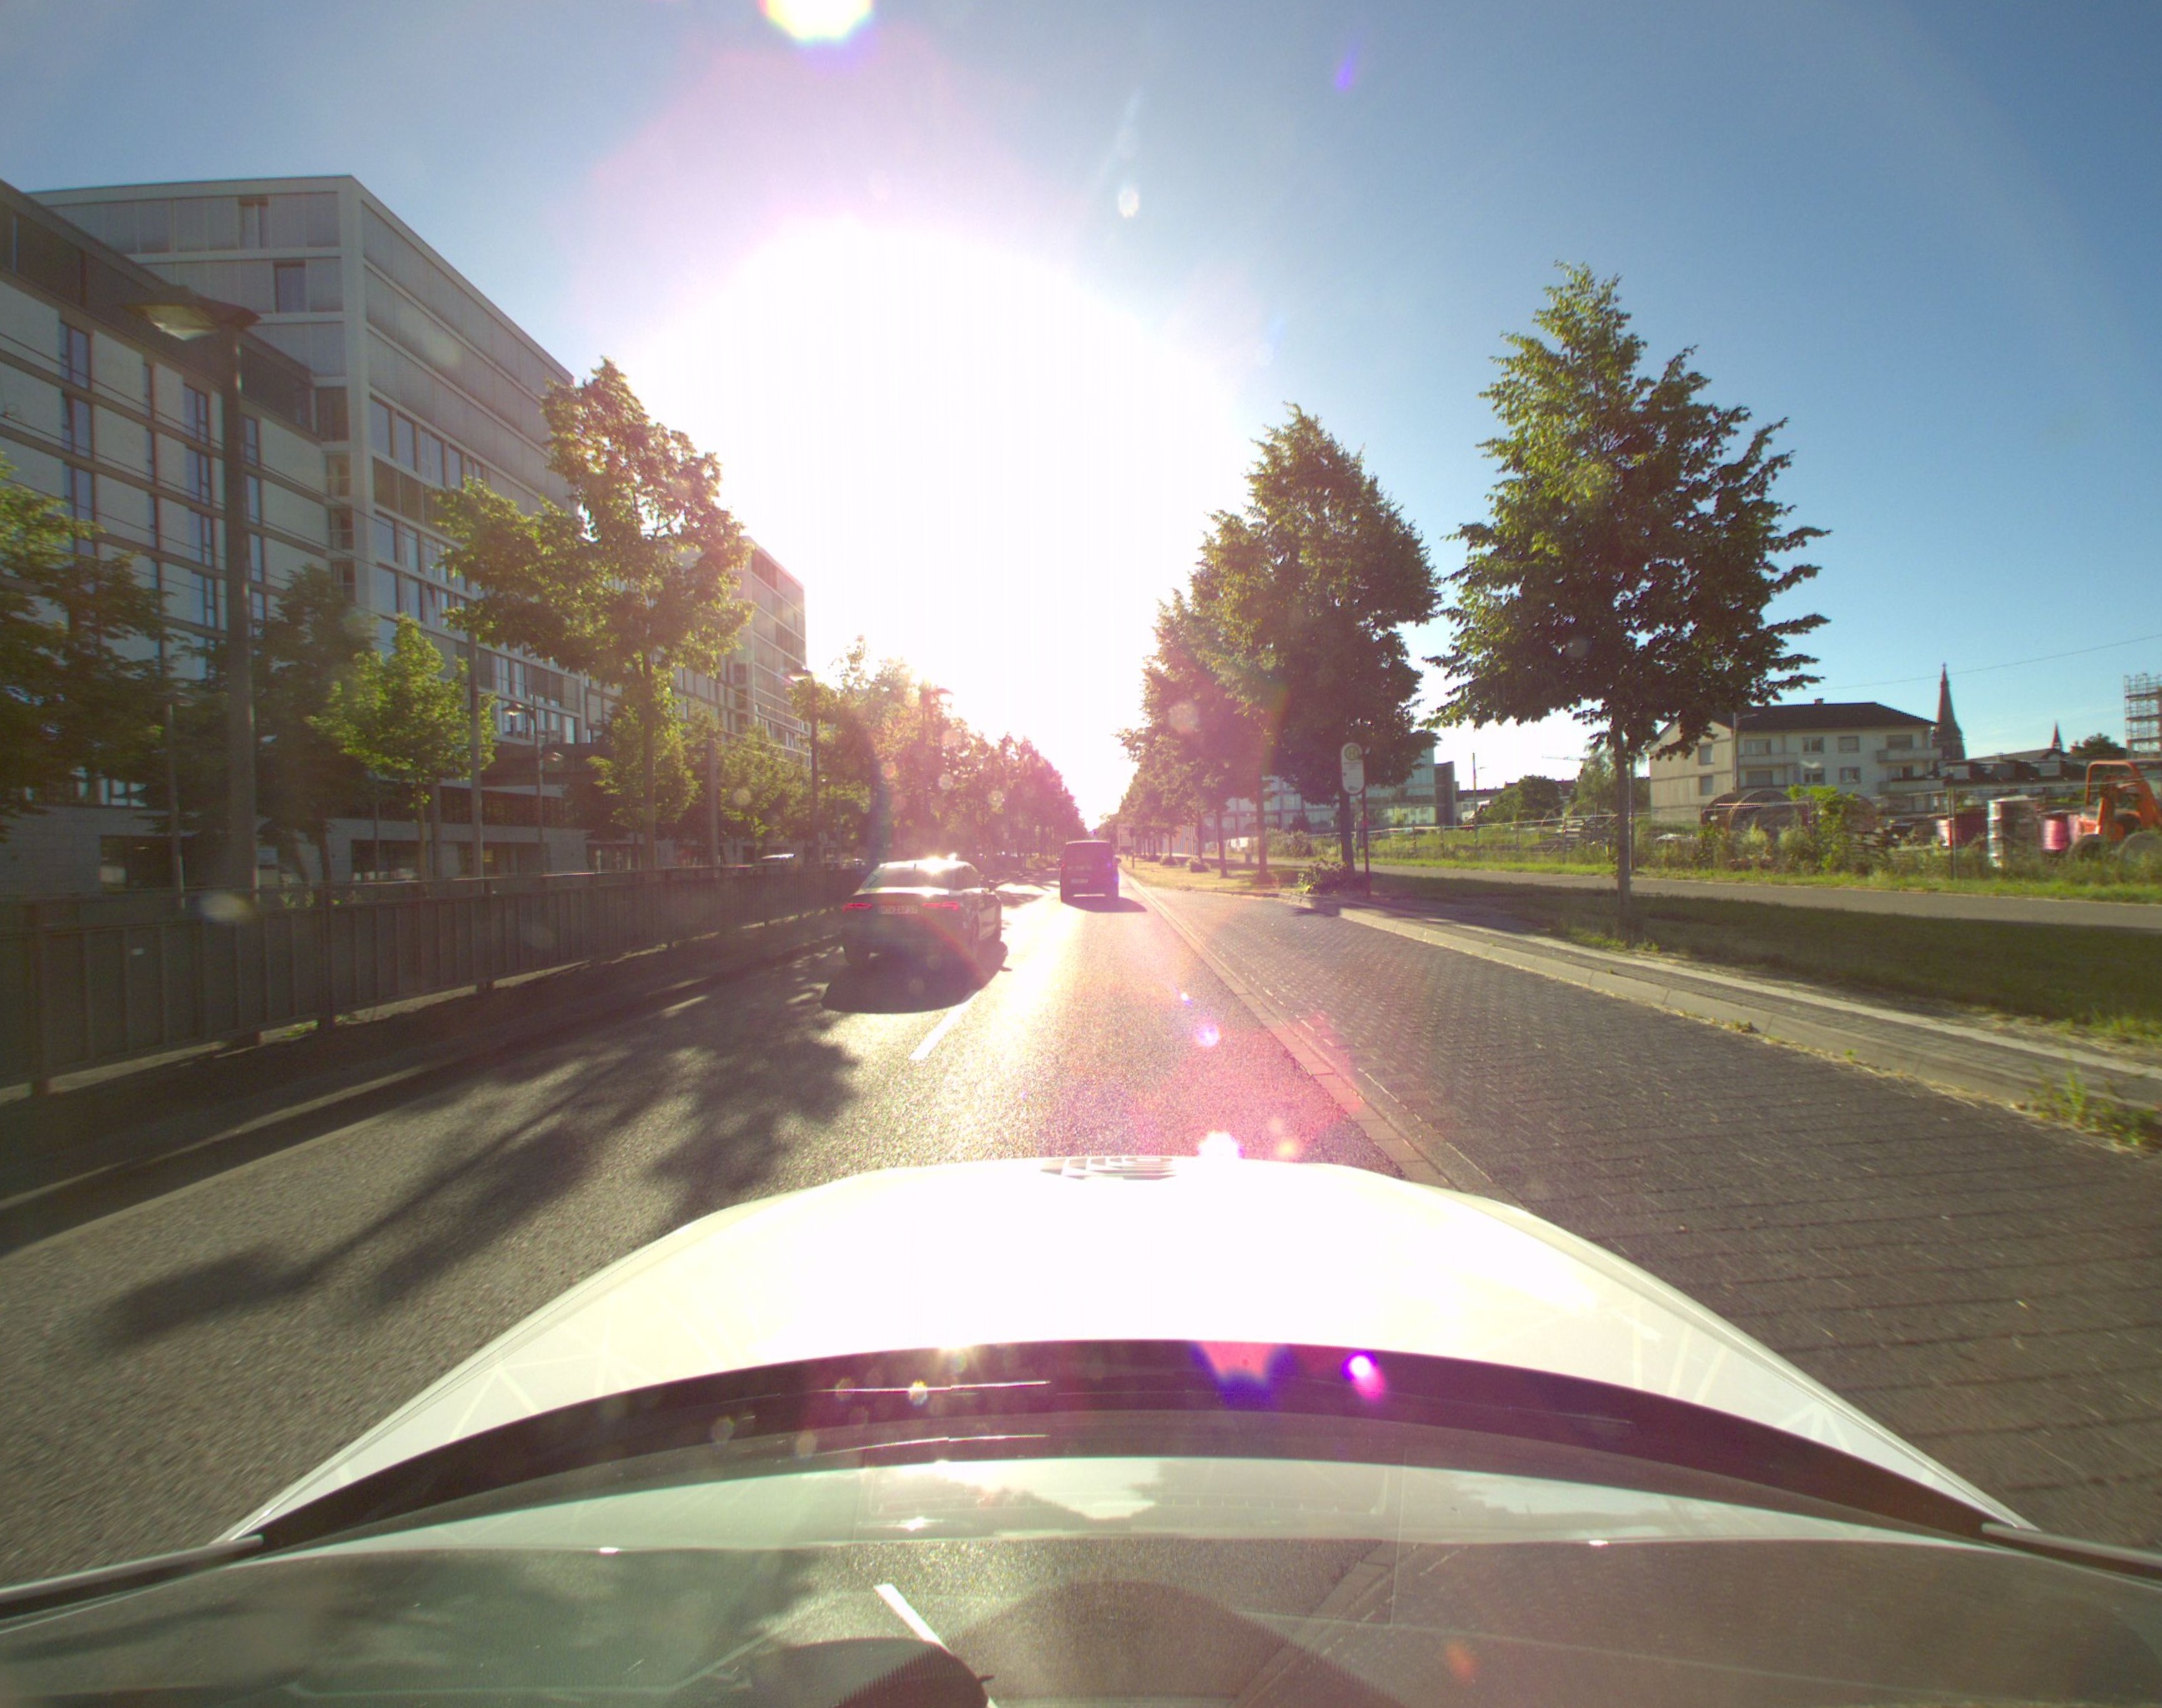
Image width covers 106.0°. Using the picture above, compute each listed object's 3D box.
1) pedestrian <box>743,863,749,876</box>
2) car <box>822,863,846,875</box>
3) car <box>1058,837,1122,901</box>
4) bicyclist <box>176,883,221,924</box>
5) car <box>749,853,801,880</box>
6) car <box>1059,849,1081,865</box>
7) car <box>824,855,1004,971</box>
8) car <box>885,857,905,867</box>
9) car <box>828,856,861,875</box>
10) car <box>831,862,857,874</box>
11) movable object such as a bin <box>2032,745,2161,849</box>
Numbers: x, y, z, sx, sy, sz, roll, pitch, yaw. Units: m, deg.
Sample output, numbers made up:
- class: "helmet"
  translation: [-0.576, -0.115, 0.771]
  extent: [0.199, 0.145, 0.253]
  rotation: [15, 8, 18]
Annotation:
- class: "pedestrian"
  translation: [-35.781, 1.683, 86.982]
  extent: [0.406, 1.413, 0.690]
  rotation: [-2, -2, 1]
- class: "car"
  translation: [-28.542, 1.725, 94.085]
  extent: [1.663, 1.207, 3.582]
  rotation: [-3, 1, 0]
- class: "car"
  translation: [0.250, 0.417, 25.551]
  extent: [1.792, 1.777, 3.999]
  rotation: [-2, 0, 0]
- class: "bicyclist"
  translation: [-32.747, 1.827, 30.241]
  extent: [0.717, 1.463, 0.832]
  rotation: [-2, 0, 3]
- class: "car"
  translation: [-21.864, 0.858, 58.345]
  extent: [1.986, 1.750, 4.228]
  rotation: [-3, 0, 1]
- class: "car"
  translation: [-1.041, 0.257, 75.645]
  extent: [1.936, 1.441, 3.999]
  rotation: [-2, 0, -1]
- class: "car"
  translation: [-2.256, 0.734, 12.147]
  extent: [1.714, 1.366, 4.147]
  rotation: [-1, 1, 1]
- class: "car"
  translation: [-27.750, 1.208, 121.834]
  extent: [1.708, 1.420, 4.548]
  rotation: [-2, 0, 3]
- class: "car"
  translation: [-20.856, 0.996, 71.998]
  extent: [1.673, 1.520, 3.701]
  rotation: [-2, 0, 1]
- class: "car"
  translation: [-29.027, 1.702, 99.957]
  extent: [1.662, 1.419, 4.805]
  rotation: [-2, 0, 1]
- class: "movable object such as a bin"
  translation: [22.056, -1.164, 17.177]
  extent: [1.788, 2.014, 1.790]
  rotation: [-2, -2, 2]
